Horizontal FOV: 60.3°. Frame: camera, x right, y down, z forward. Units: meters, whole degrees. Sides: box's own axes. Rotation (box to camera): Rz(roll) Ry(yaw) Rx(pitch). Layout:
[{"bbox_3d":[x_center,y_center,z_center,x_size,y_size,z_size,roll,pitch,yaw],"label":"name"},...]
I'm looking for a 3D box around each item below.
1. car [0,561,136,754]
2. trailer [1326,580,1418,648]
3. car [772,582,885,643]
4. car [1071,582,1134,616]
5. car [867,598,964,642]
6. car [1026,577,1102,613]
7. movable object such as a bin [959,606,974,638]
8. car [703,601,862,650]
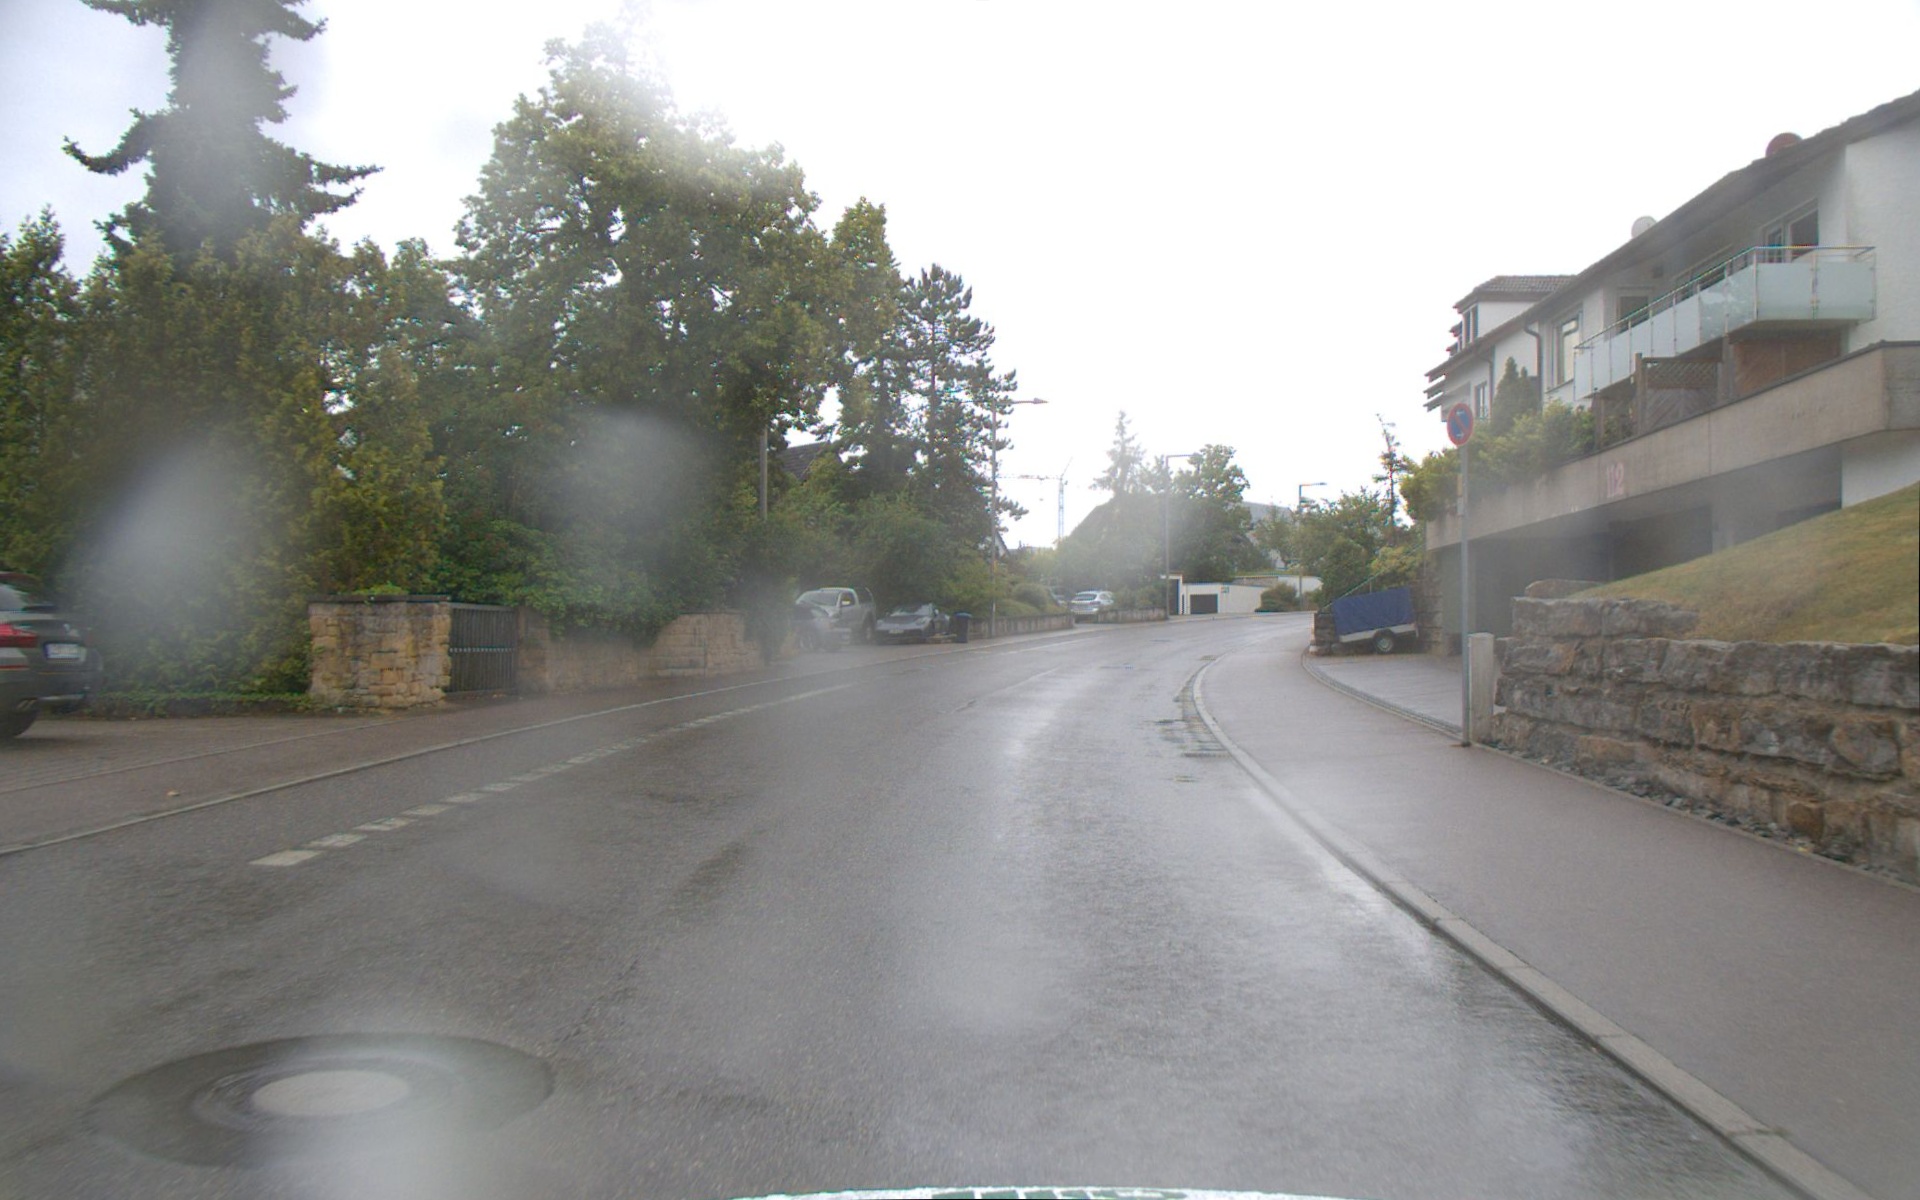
[{"bbox_3d":[-9.504,0.440,13.656,4.450,1.501,1.838,0,0,-4],"label":"car"},{"bbox_3d":[11.109,0.381,44.709,2.303,1.778,2.002,-1,0,12],"label":"trailer"},{"bbox_3d":[-4.236,0.373,54.146,1.951,1.876,5.482,0,0,15],"label":"car"},{"bbox_3d":[7.048,-0.053,81.649,1.701,1.578,3.996,-1,0,27],"label":"car"},{"bbox_3d":[-1.384,0.627,53.904,1.951,1.330,4.437,-1,0,15],"label":"car"},{"bbox_3d":[5.492,-0.258,87.726,1.977,1.870,3.952,-1,0,-34],"label":"car"},{"bbox_3d":[0.215,0.707,53.030,0.362,1.005,0.559,-1,0,12],"label":"movable object such as a bin"},{"bbox_3d":[-4.845,0.678,45.302,3.904,1.294,1.874,0,0,19],"label":"car"}]
